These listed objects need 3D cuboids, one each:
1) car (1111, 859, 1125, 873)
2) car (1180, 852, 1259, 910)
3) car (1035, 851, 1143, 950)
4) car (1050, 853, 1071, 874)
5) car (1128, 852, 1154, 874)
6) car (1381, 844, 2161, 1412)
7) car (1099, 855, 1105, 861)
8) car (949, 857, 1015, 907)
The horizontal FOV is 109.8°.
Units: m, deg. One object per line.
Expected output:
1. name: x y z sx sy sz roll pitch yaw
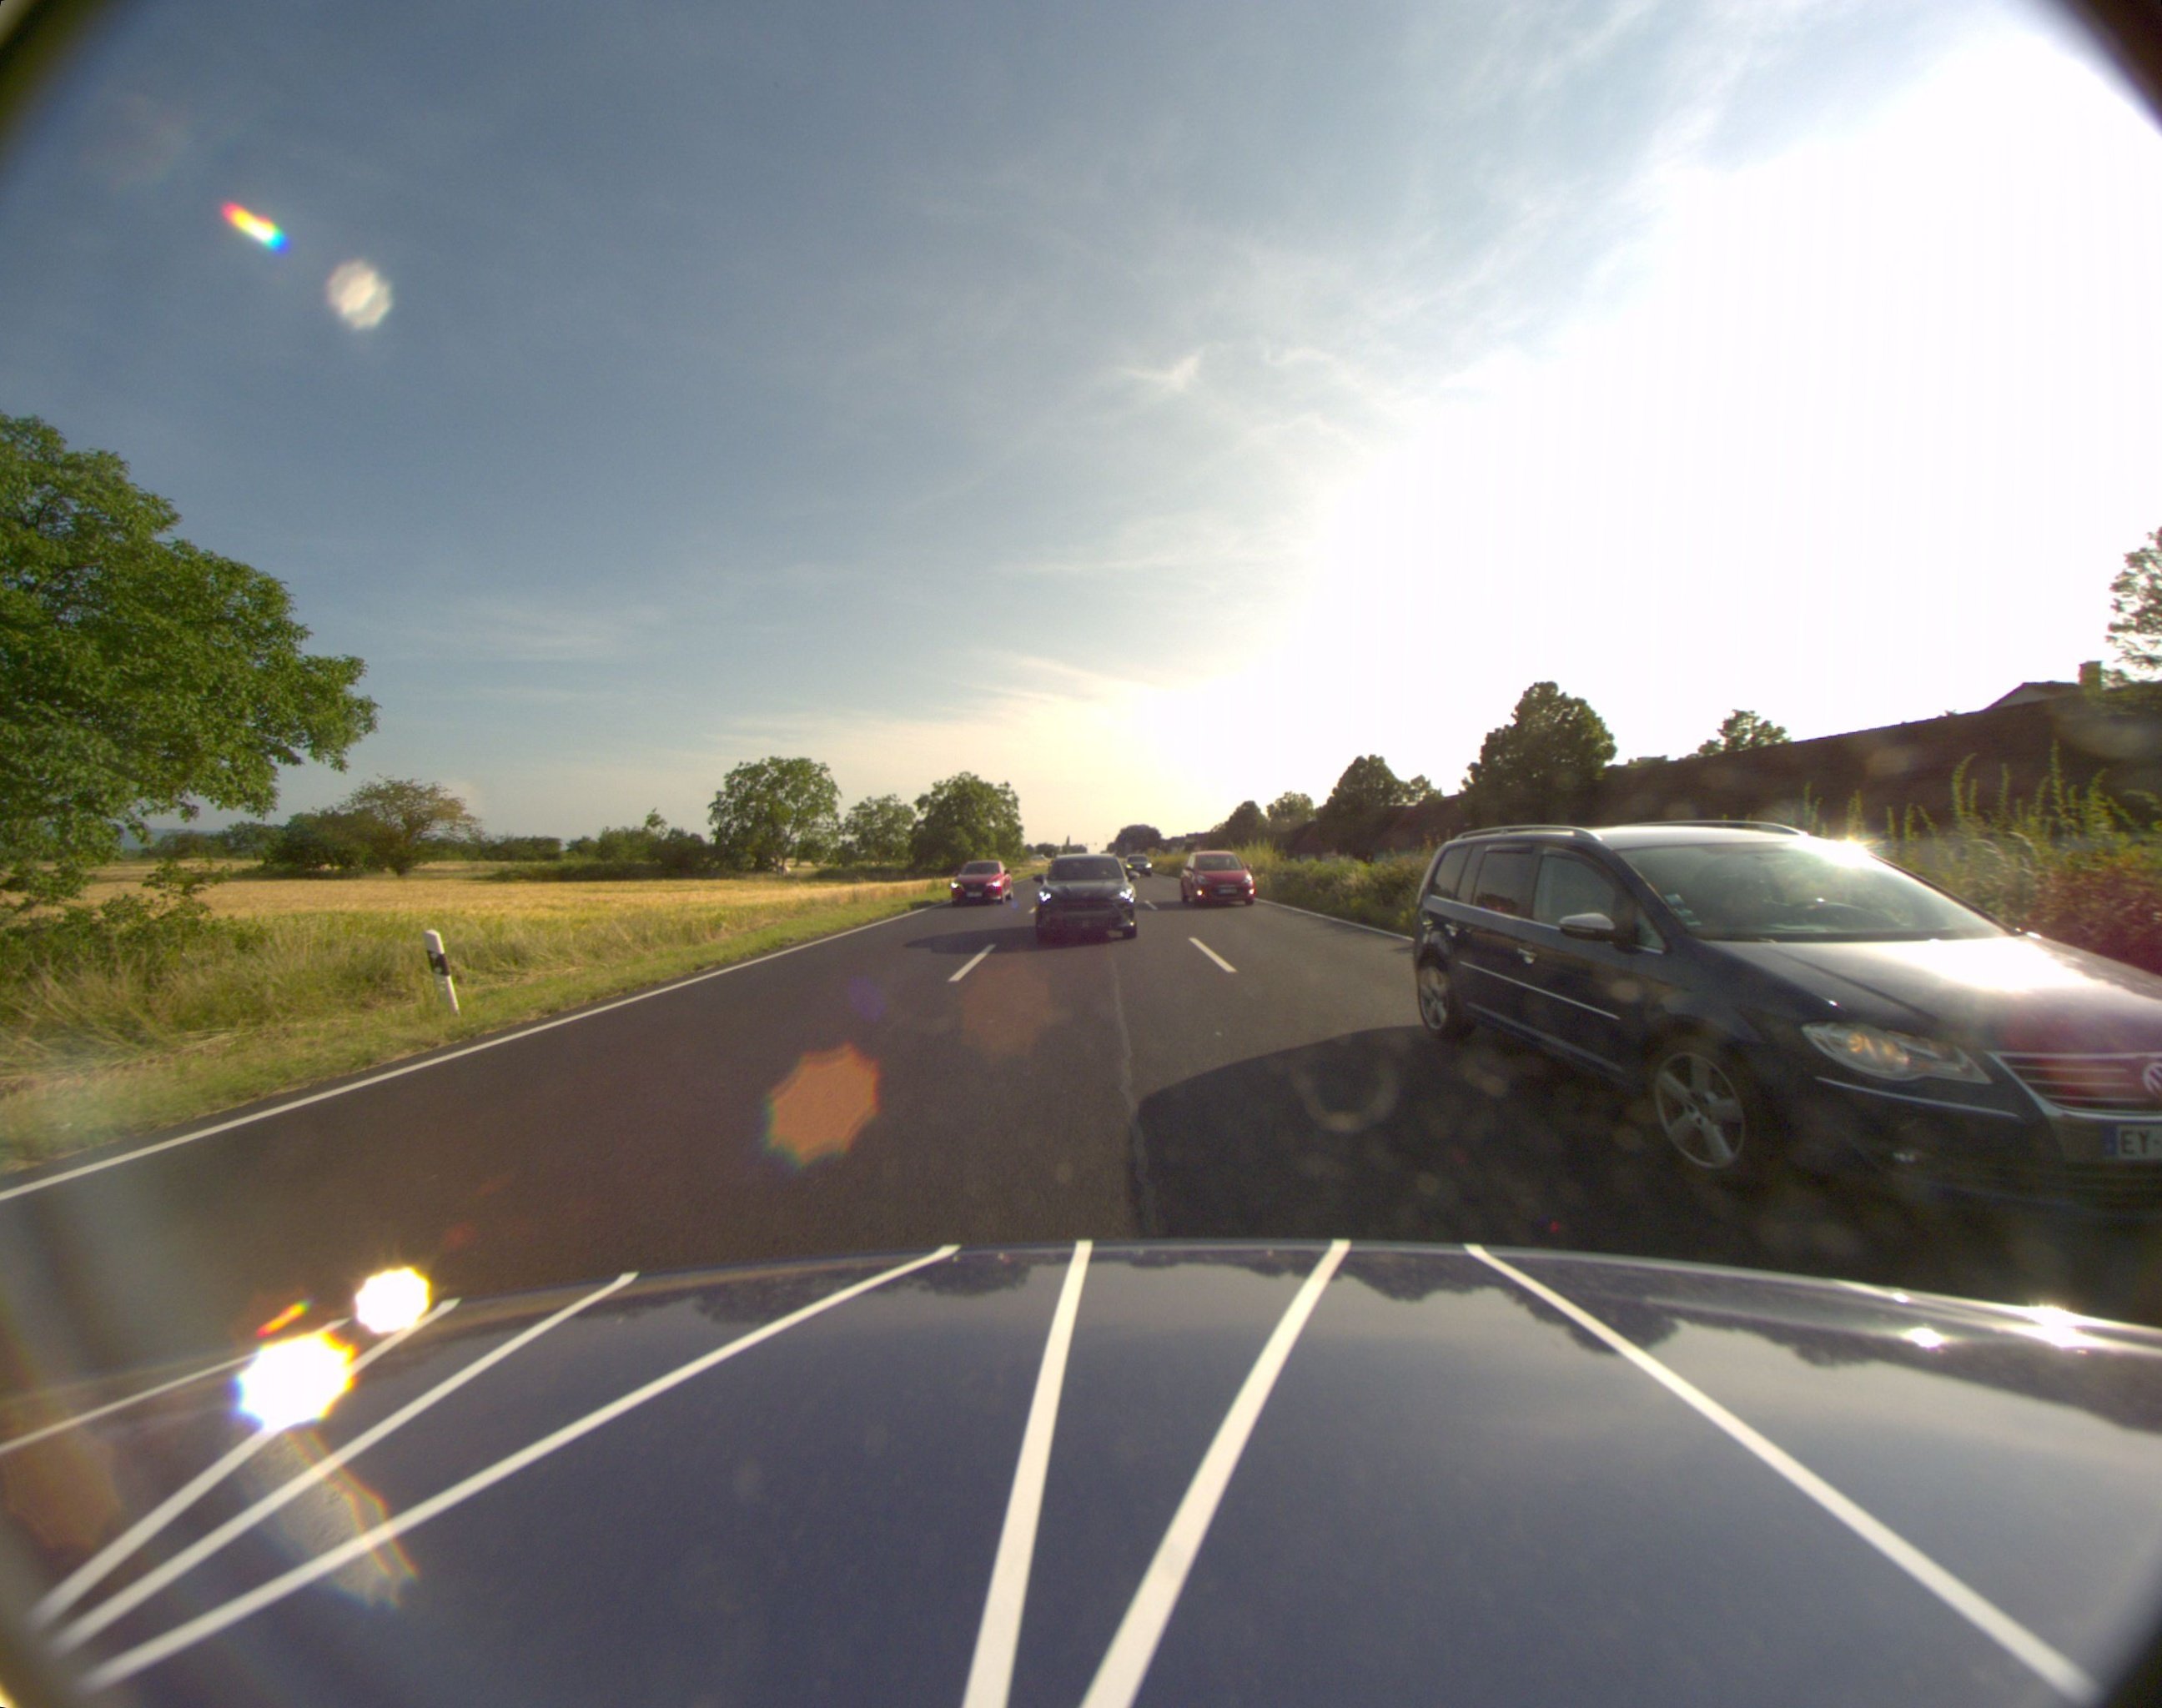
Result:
1. car: 5.361 1.772 110.811 1.918 1.871 4.000 -2 1 1
2. car: 4.128 0.760 23.267 1.748 1.537 4.000 -2 1 1
3. car: 0.189 0.795 15.181 1.791 1.594 4.339 -2 1 1
4. car: -2.057 0.908 76.914 1.999 2.002 3.999 -2 1 -2
5. car: 4.562 0.681 58.131 1.719 1.521 4.000 -2 1 1
6. car: 3.549 0.769 4.512 1.777 1.612 4.681 -1 1 2
7. car: 6.534 1.258 238.397 1.998 2.002 4.000 -2 1 1
8. car: -3.475 0.934 27.354 1.708 1.497 4.500 -2 1 0
